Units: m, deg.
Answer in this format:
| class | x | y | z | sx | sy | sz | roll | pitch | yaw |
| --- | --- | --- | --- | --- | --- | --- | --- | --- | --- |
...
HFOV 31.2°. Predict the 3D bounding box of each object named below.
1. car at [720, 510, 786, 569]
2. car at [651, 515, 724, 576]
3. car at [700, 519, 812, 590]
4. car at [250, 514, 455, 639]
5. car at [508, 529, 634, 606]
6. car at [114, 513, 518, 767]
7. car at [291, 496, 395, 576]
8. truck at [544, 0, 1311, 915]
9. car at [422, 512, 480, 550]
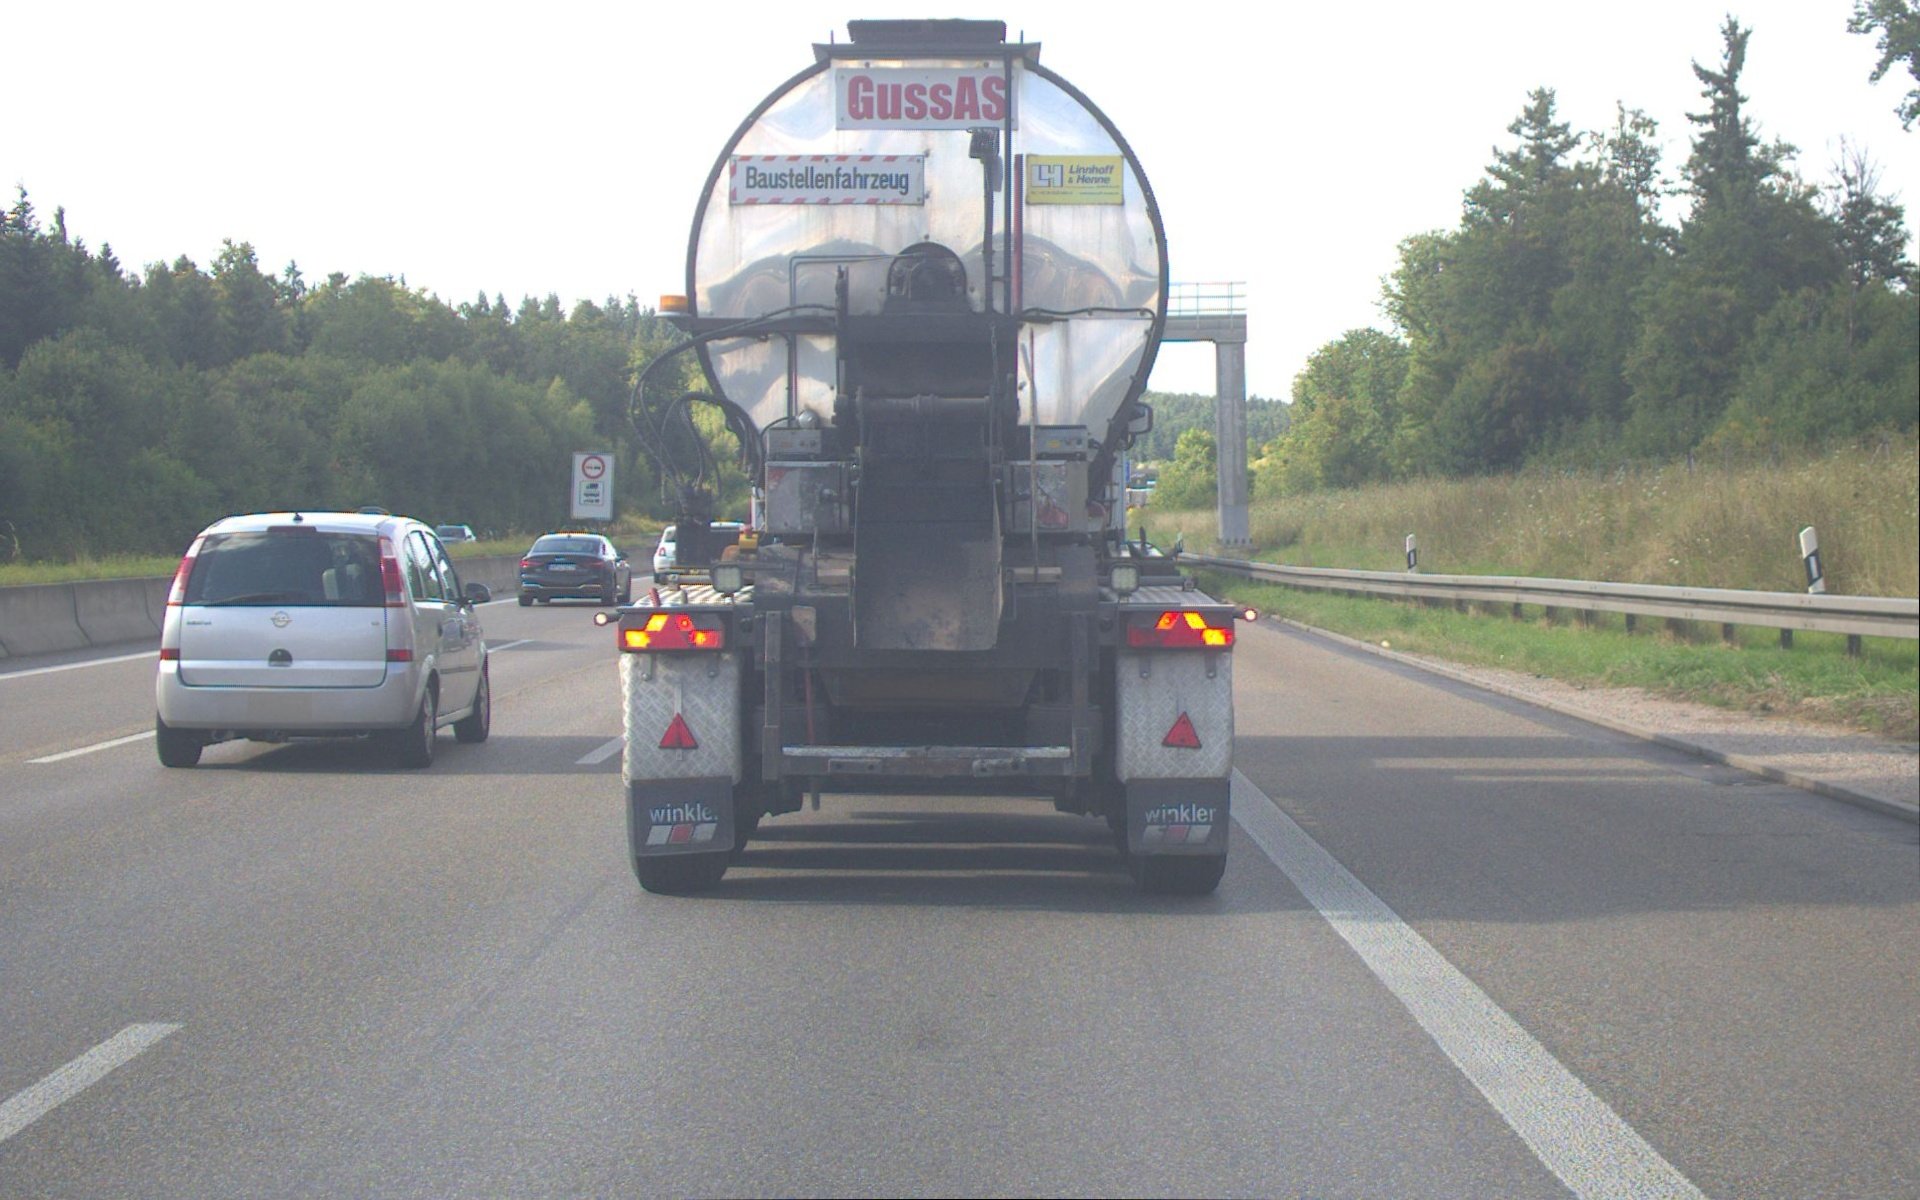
| class | x | y | z | sx | sy | sz | roll | pitch | yaw |
| --- | --- | --- | --- | --- | --- | --- | --- | --- | --- |
| car | -6.351 | -1.865 | 105.644 | 1.845 | 1.776 | 4.000 | 0 | 1 | -1 |
| car | -7.083 | -1.426 | 89.669 | 1.618 | 1.539 | 3.520 | 1 | 1 | 0 |
| car | -4.393 | -1.013 | 74.704 | 2.060 | 1.494 | 5.736 | 0 | 1 | 0 |
| car | -7.679 | -0.337 | 43.824 | 1.835 | 1.512 | 4.333 | 0 | 1 | 0 |
| car | -7.471 | -0.650 | 66.429 | 1.856 | 1.426 | 4.841 | 0 | 1 | 0 |
| car | -4.125 | 0.192 | 22.692 | 1.835 | 1.512 | 4.333 | 0 | 1 | 0 |
| car | -15.843 | -1.650 | 88.411 | 1.993 | 2.007 | 4.072 | 0 | 1 | -1 |
| truck | -0.077 | -1.006 | 18.726 | 2.913 | 4.143 | 11.270 | 0 | 1 | 1 |
| car | -22.055 | -3.003 | 149.167 | 1.879 | 1.622 | 4.570 | 0 | 1 | 0 |
